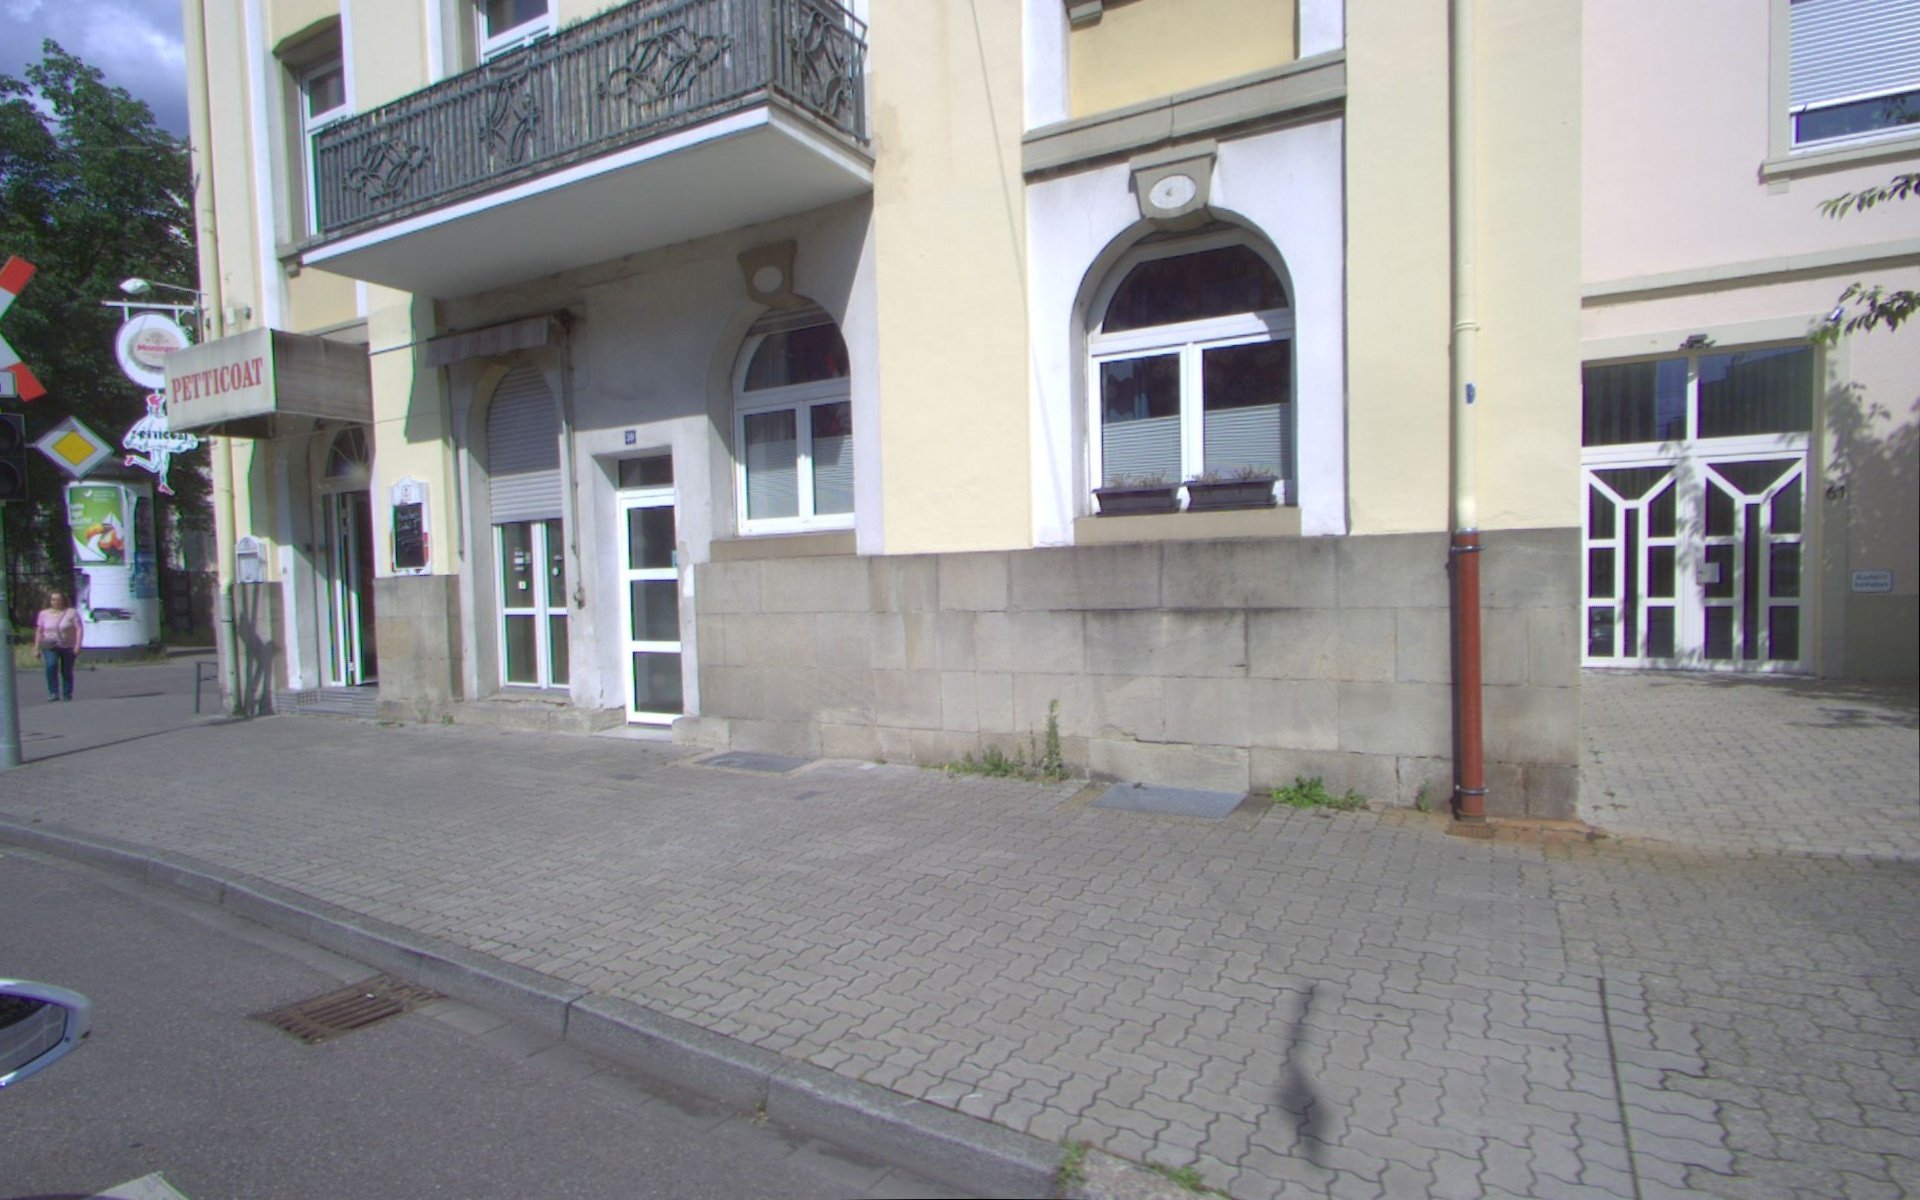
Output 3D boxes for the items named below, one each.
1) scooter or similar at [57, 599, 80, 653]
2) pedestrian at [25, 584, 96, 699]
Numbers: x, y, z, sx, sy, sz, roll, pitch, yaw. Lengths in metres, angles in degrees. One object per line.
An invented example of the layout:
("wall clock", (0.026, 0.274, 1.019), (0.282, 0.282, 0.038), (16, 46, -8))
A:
("scooter or similar", (-20.192, 0.576, 22.675), (0.303, 1.205, 1.151), (-3, 3, -43))
("pedestrian", (-13.628, 0.610, 15.189), (0.666, 1.671, 0.757), (-4, 3, -38))
